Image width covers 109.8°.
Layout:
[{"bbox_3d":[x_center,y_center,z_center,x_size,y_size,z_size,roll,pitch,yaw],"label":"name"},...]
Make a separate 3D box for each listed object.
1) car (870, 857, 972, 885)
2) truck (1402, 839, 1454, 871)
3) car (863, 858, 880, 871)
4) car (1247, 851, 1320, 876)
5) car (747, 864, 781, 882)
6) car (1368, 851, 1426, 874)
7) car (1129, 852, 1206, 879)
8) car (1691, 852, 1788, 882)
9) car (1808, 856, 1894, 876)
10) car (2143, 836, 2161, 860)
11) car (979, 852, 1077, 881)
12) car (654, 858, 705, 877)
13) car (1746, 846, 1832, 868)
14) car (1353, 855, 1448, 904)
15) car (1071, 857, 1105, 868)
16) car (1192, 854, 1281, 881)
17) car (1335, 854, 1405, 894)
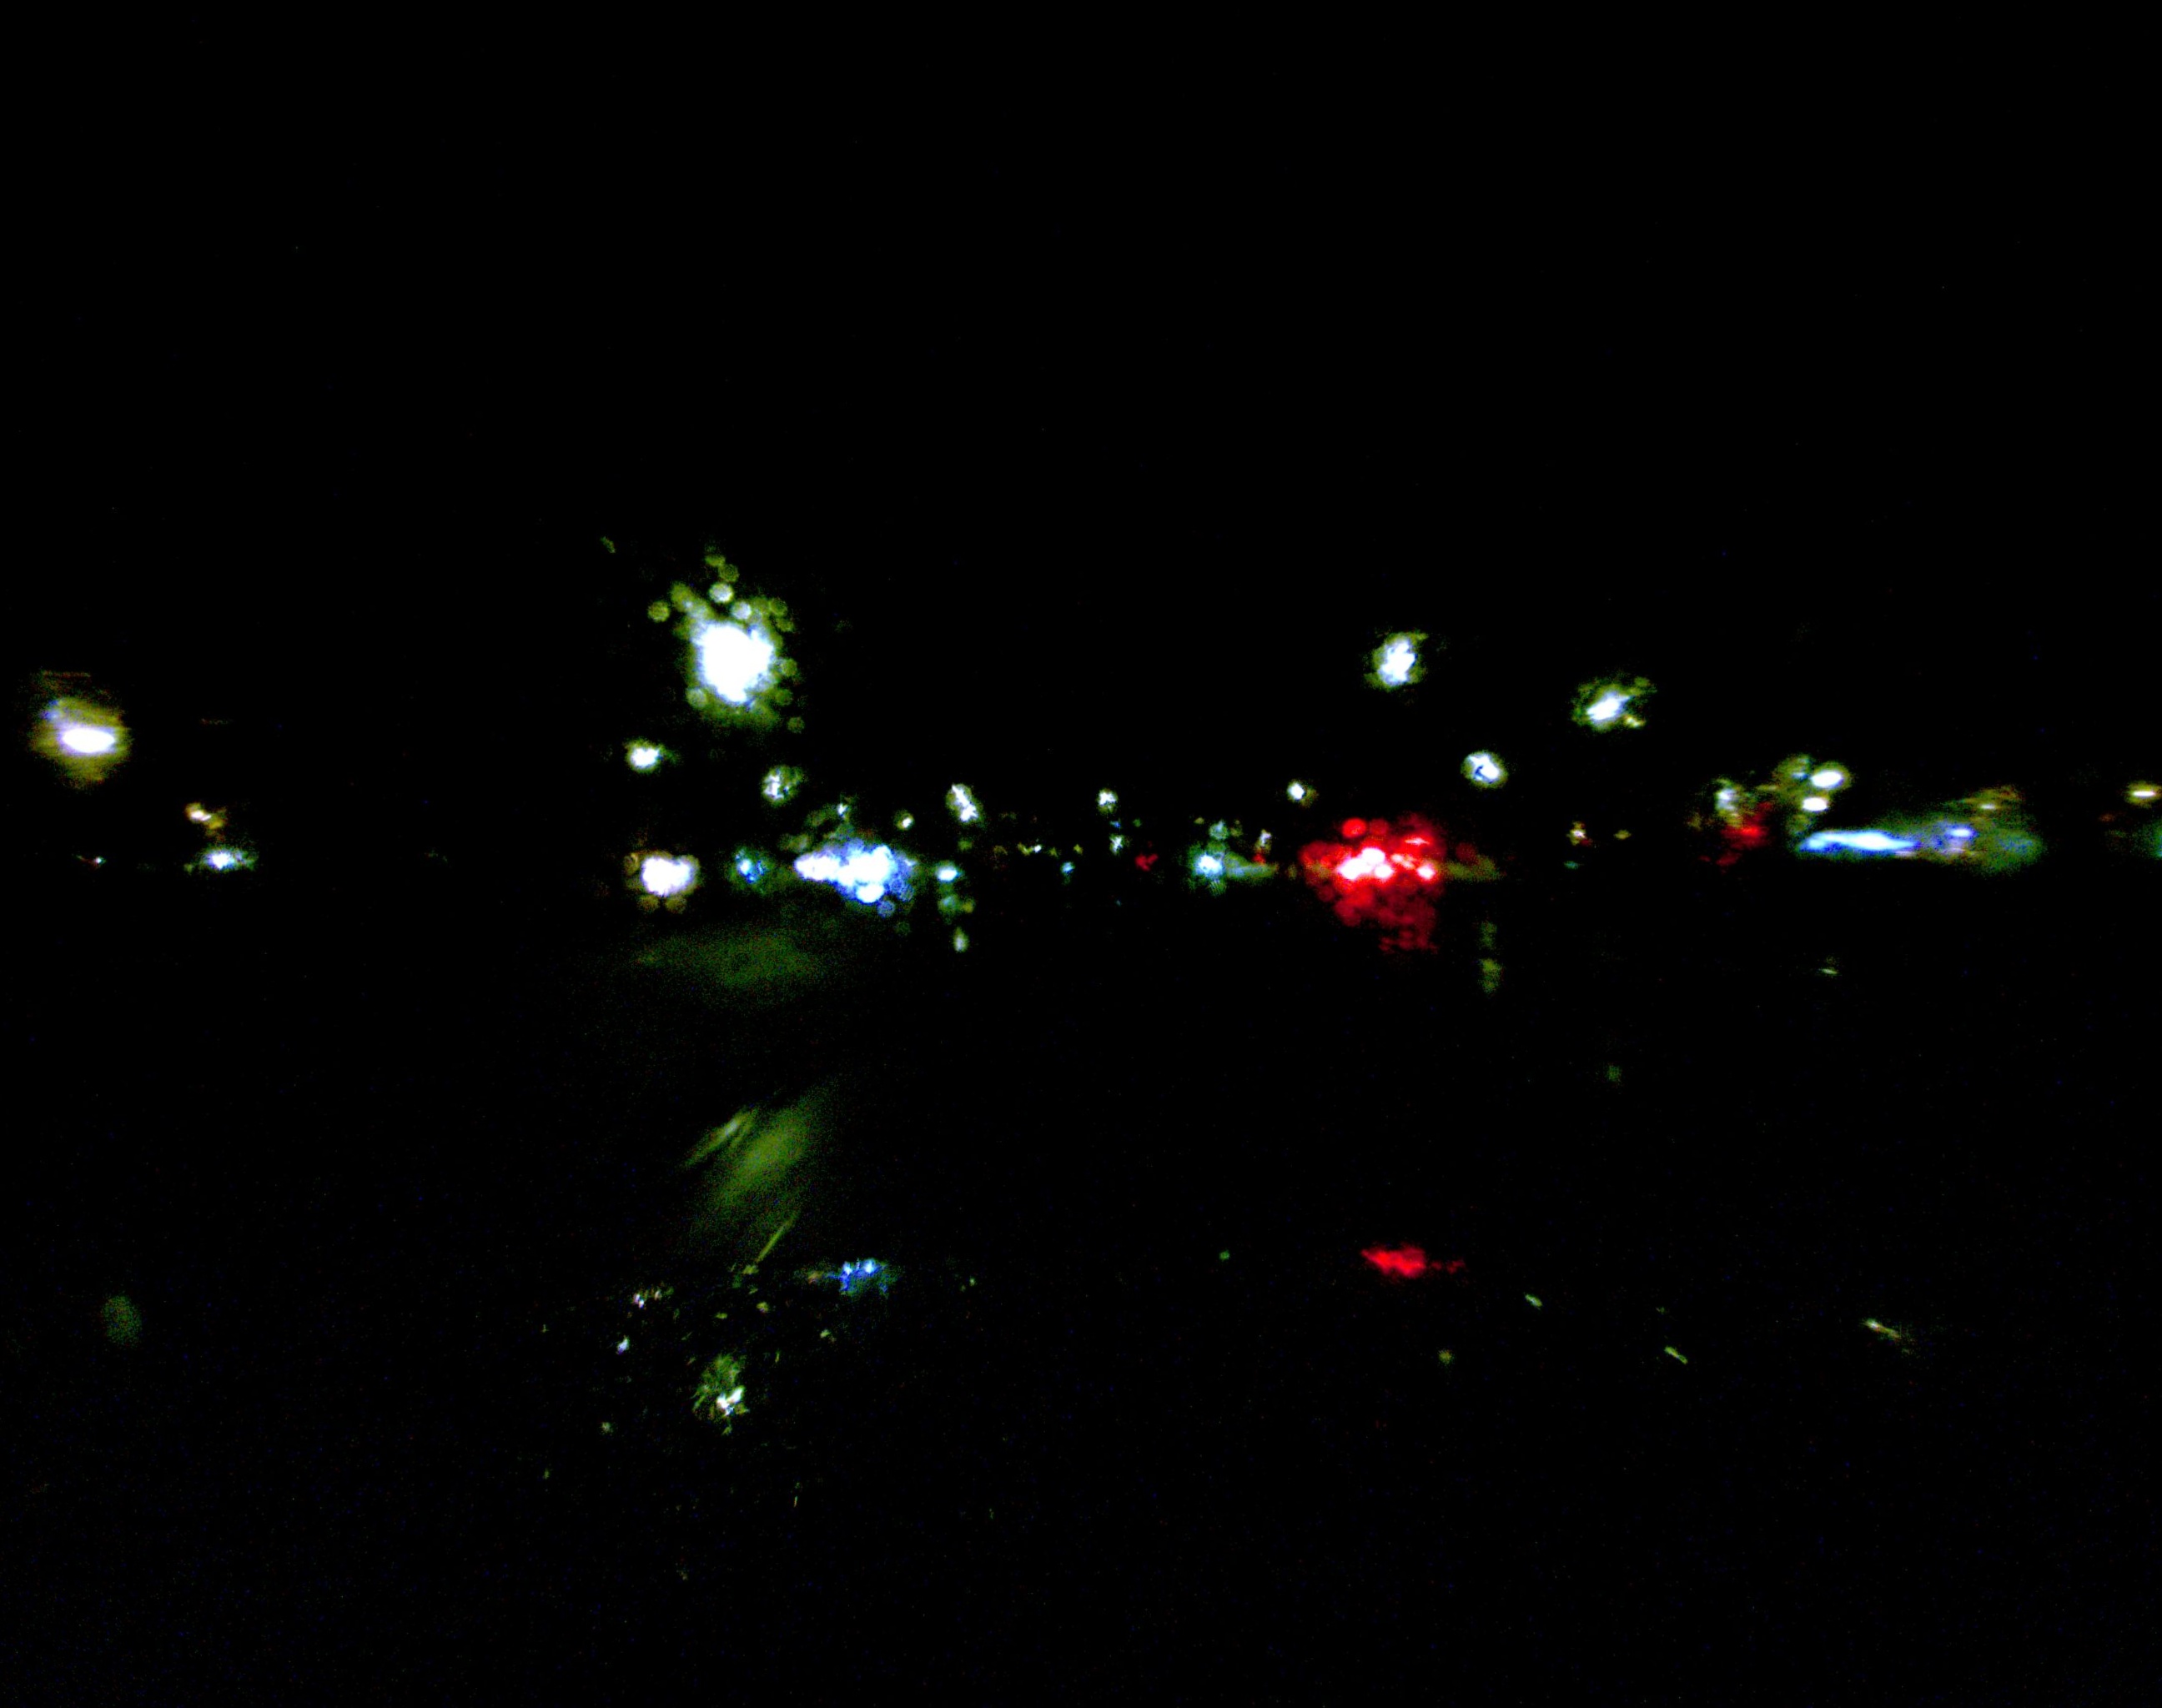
[{"bbox_3d":[-8.612,0.899,40.884,5.087,1.457,2.003,0,0,20],"label":"car"},{"bbox_3d":[27.259,0.065,59.427,2.316,2.382,7.829,1,0,35],"label":"truck"},{"bbox_3d":[-29.628,1.424,107.580,2.000,1.744,3.996,0,0,-9],"label":"car"},{"bbox_3d":[13.048,0.604,48.916,4.190,1.524,1.996,0,0,-21],"label":"car"},{"bbox_3d":[-30.789,1.777,73.847,2.000,1.662,4.183,0,0,-7],"label":"car"},{"bbox_3d":[22.457,0.578,53.932,4.194,1.524,1.994,0,0,-39],"label":"car"},{"bbox_3d":[5.301,0.688,46.818,4.430,1.612,1.999,0,0,-4],"label":"car"},{"bbox_3d":[38.815,0.757,44.886,3.997,1.764,2.000,0,0,1],"label":"car"},{"bbox_3d":[61.395,0.949,60.699,4.416,1.524,2.004,1,0,26],"label":"car"},{"bbox_3d":[75.230,-0.360,50.817,4.420,1.612,2.004,1,0,25],"label":"car"},{"bbox_3d":[-2.991,0.712,43.324,5.189,1.573,2.002,0,0,12],"label":"car"},{"bbox_3d":[-33.402,1.110,63.337,1.766,1.444,4.002,-1,0,8],"label":"car"},{"bbox_3d":[54.534,0.224,58.637,4.420,1.612,2.004,1,0,25],"label":"car"},{"bbox_3d":[11.115,0.823,26.770,1.997,1.447,4.306,4,1,8],"label":"car"},{"bbox_3d":[0.993,1.120,104.775,4.175,1.457,2.004,0,0,26],"label":"car"},{"bbox_3d":[8.794,0.757,43.033,4.641,1.457,1.646,0,0,-11],"label":"car"},{"bbox_3d":[12.748,0.813,33.344,2.064,1.612,4.643,1,0,31],"label":"car"}]
